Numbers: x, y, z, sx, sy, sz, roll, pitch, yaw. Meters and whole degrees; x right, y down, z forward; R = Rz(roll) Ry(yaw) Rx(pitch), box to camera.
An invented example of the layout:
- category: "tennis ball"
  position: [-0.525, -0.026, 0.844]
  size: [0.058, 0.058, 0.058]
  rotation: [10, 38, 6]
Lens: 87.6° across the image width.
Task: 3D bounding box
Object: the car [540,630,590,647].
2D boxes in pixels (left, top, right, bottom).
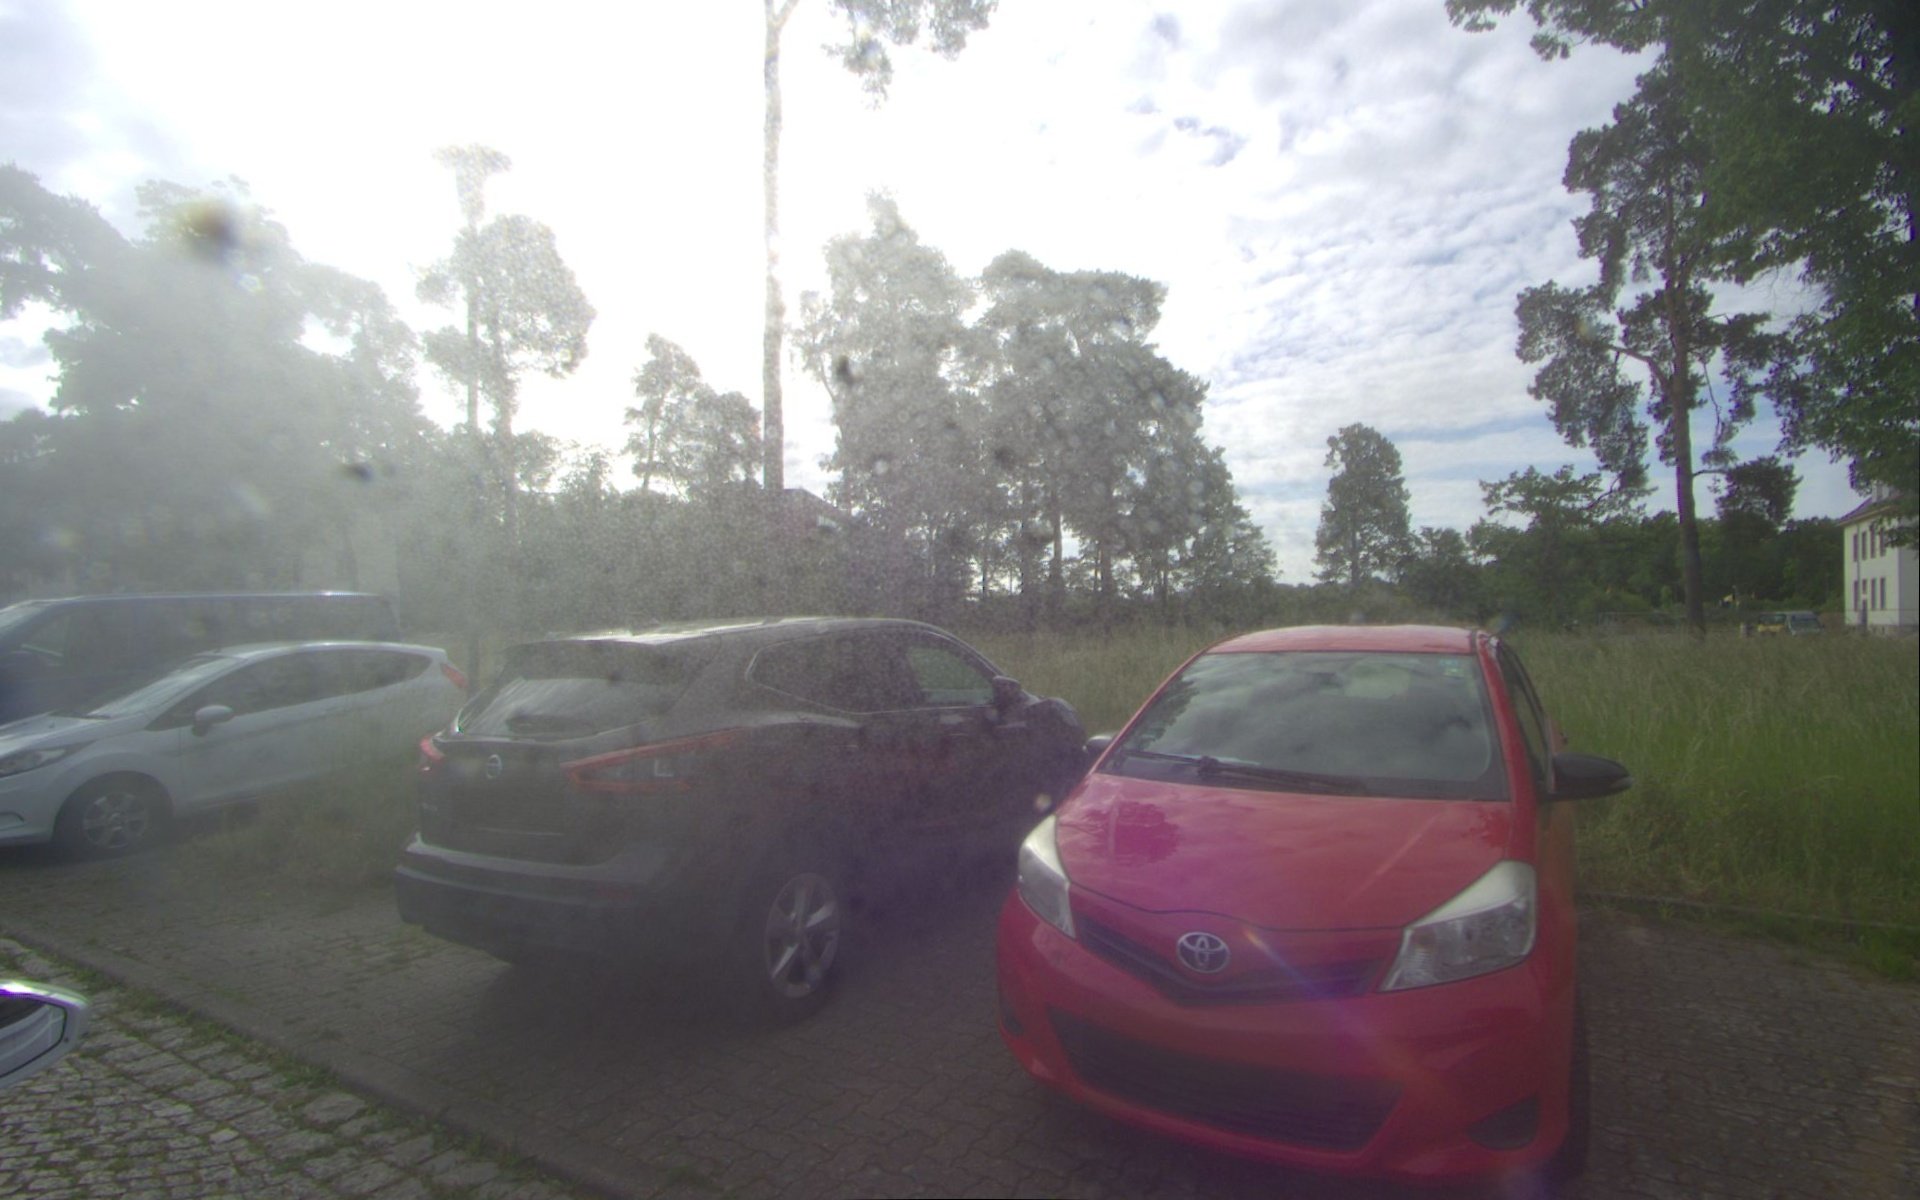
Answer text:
- category: "car"
  position: [-35.454, 3.486, 89.933]
  size: [1.628, 1.438, 3.941]
  rotation: [-1, -4, 34]

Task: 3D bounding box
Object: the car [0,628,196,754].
- category: "car"
  position: [-12.586, 1.179, 13.003]
  size: [1.732, 1.491, 3.856]
  rotation: [-1, 0, 30]

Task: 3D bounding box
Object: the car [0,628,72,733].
- category: "car"
  position: [-15.267, 1.212, 14.032]
  size: [1.732, 1.491, 3.856]
  rotation: [-1, 0, 30]

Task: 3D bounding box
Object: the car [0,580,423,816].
- category: "car"
  position: [-8.263, 0.825, 9.971]
  size: [1.974, 1.971, 4.799]
  rotation: [-1, 0, 30]

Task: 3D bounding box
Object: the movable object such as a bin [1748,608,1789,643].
- category: "movable object such as a bin"
  position: [49.526, 1.561, 61.332]
  size: [1.664, 2.039, 3.214]
  rotation: [-1, -2, 44]

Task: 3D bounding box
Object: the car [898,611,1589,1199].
- category: "car"
  position: [1.614, 0.834, 4.226]
  size: [1.740, 1.505, 3.998]
  rotation: [-1, 0, 32]

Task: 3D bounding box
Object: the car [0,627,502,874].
- category: "car"
  position: [-6.186, 1.040, 8.468]
  size: [1.814, 1.491, 3.856]
  rotation: [-1, 0, 30]

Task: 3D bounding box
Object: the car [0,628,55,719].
- category: "car"
  position: [-17.323, 1.260, 16.037]
  size: [1.732, 1.491, 3.856]
  rotation: [-1, 0, 30]

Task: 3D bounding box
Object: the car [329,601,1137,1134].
- category: "car"
  position: [-0.660, 0.839, 5.364]
  size: [1.795, 1.619, 4.253]
  rotation: [-1, 0, 30]
